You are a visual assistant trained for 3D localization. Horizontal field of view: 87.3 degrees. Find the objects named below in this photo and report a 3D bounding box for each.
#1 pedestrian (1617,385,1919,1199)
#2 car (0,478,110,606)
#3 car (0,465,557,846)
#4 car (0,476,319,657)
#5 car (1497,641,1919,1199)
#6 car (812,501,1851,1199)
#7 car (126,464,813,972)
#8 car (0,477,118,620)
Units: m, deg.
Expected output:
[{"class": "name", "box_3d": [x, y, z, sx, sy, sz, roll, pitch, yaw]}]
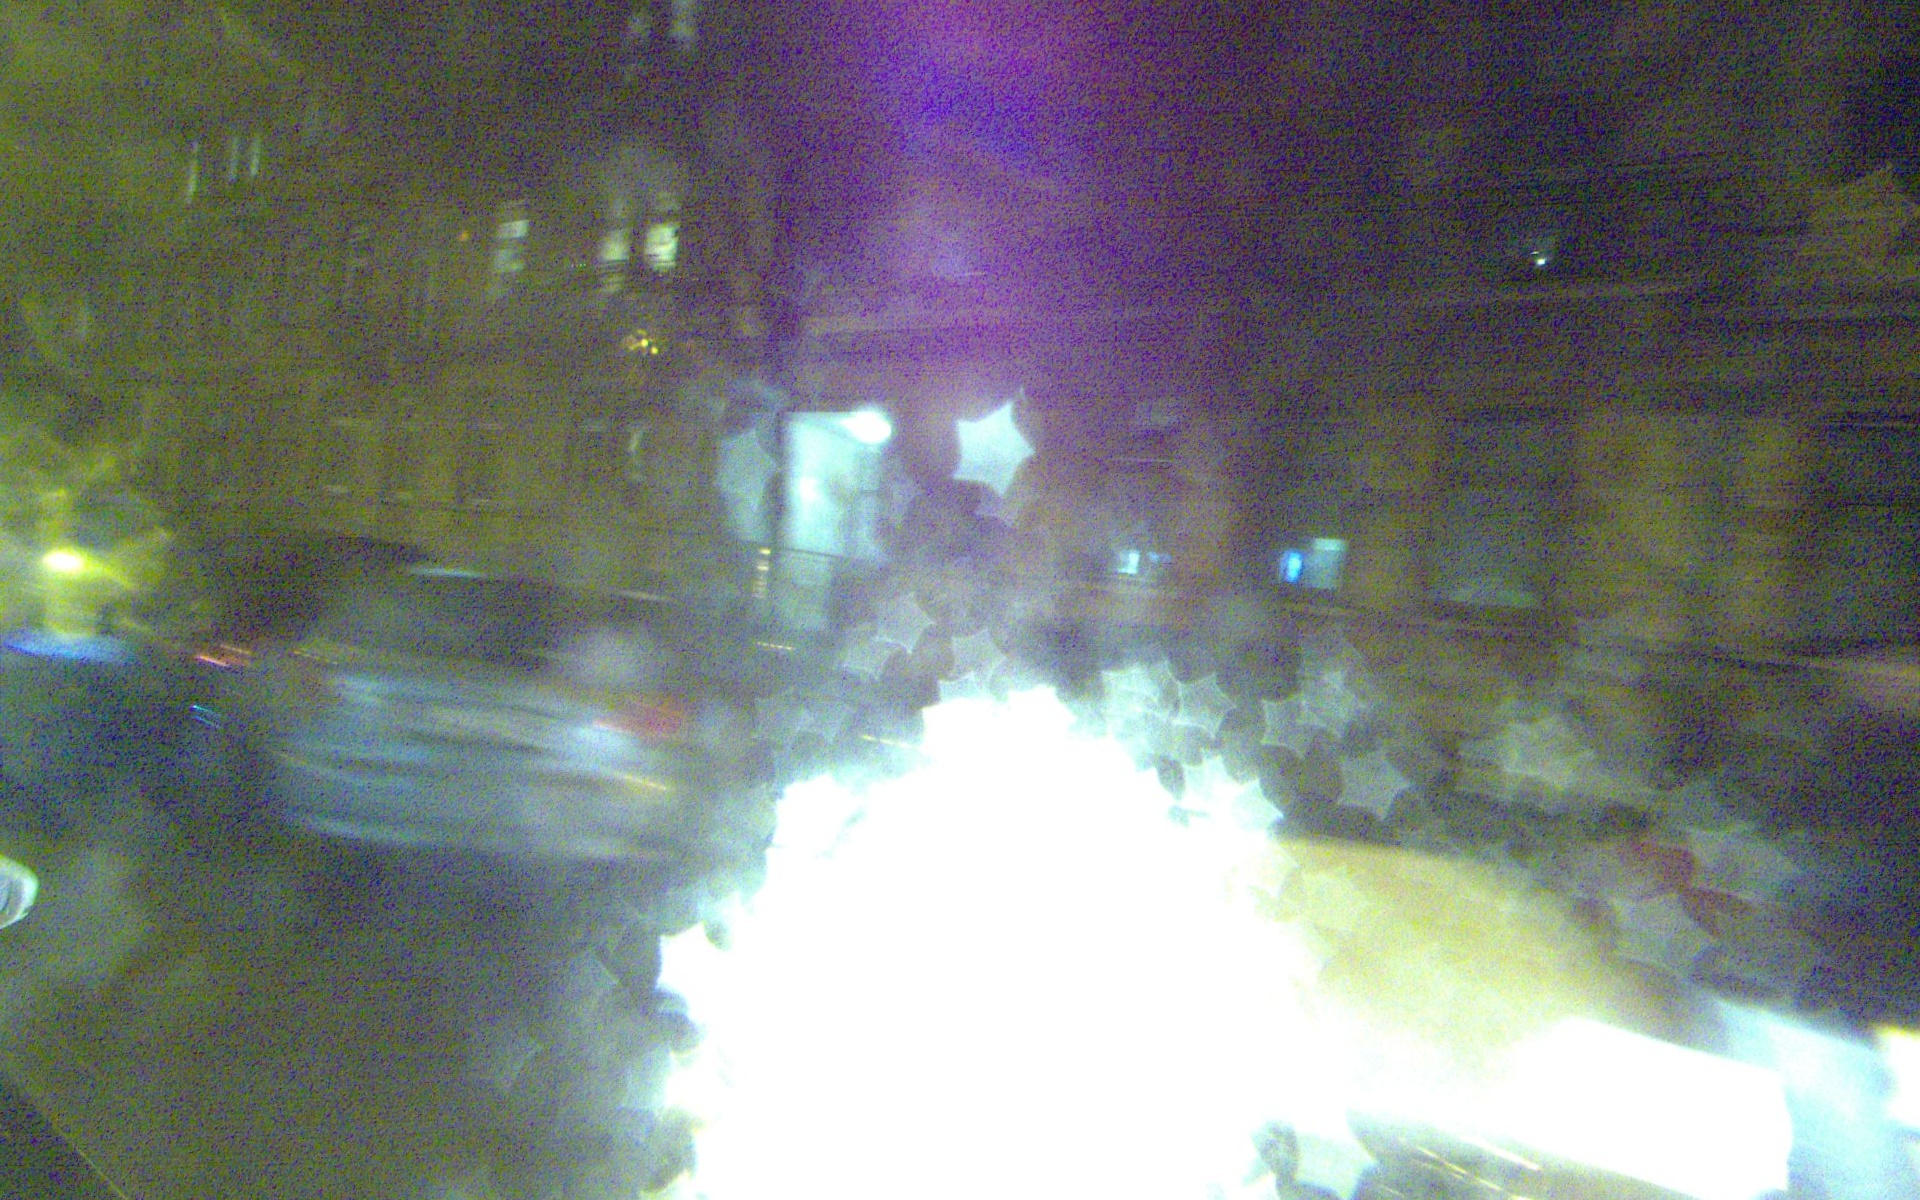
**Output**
[{"class": "pedestrian", "box_3d": [1.904, 0.672, 1.926, 0.665, 2.040, 0.643, 7, 3, 1]}, {"class": "car", "box_3d": [-12.961, -0.858, 12.410, 1.563, 1.599, 3.655, 7, -1, 4]}, {"class": "car", "box_3d": [-4.232, 0.201, 6.387, 1.772, 1.572, 3.997, 6, 0, -3]}, {"class": "car", "box_3d": [-8.642, -0.363, 10.230, 1.657, 1.470, 3.998, 6, 0, -2]}, {"class": "car", "box_3d": [3.082, 1.037, 2.302, 1.549, 1.561, 3.397, 6, 0, -4]}, {"class": "car", "box_3d": [0.621, 0.714, 3.445, 1.531, 1.561, 3.653, 6, 0, 2]}, {"class": "car", "box_3d": [-1.960, 0.420, 5.473, 1.965, 1.572, 3.995, 6, 0, -6]}, {"class": "car", "box_3d": [-10.672, -0.609, 9.974, 1.575, 1.479, 3.680, 6, 0, -3]}]
